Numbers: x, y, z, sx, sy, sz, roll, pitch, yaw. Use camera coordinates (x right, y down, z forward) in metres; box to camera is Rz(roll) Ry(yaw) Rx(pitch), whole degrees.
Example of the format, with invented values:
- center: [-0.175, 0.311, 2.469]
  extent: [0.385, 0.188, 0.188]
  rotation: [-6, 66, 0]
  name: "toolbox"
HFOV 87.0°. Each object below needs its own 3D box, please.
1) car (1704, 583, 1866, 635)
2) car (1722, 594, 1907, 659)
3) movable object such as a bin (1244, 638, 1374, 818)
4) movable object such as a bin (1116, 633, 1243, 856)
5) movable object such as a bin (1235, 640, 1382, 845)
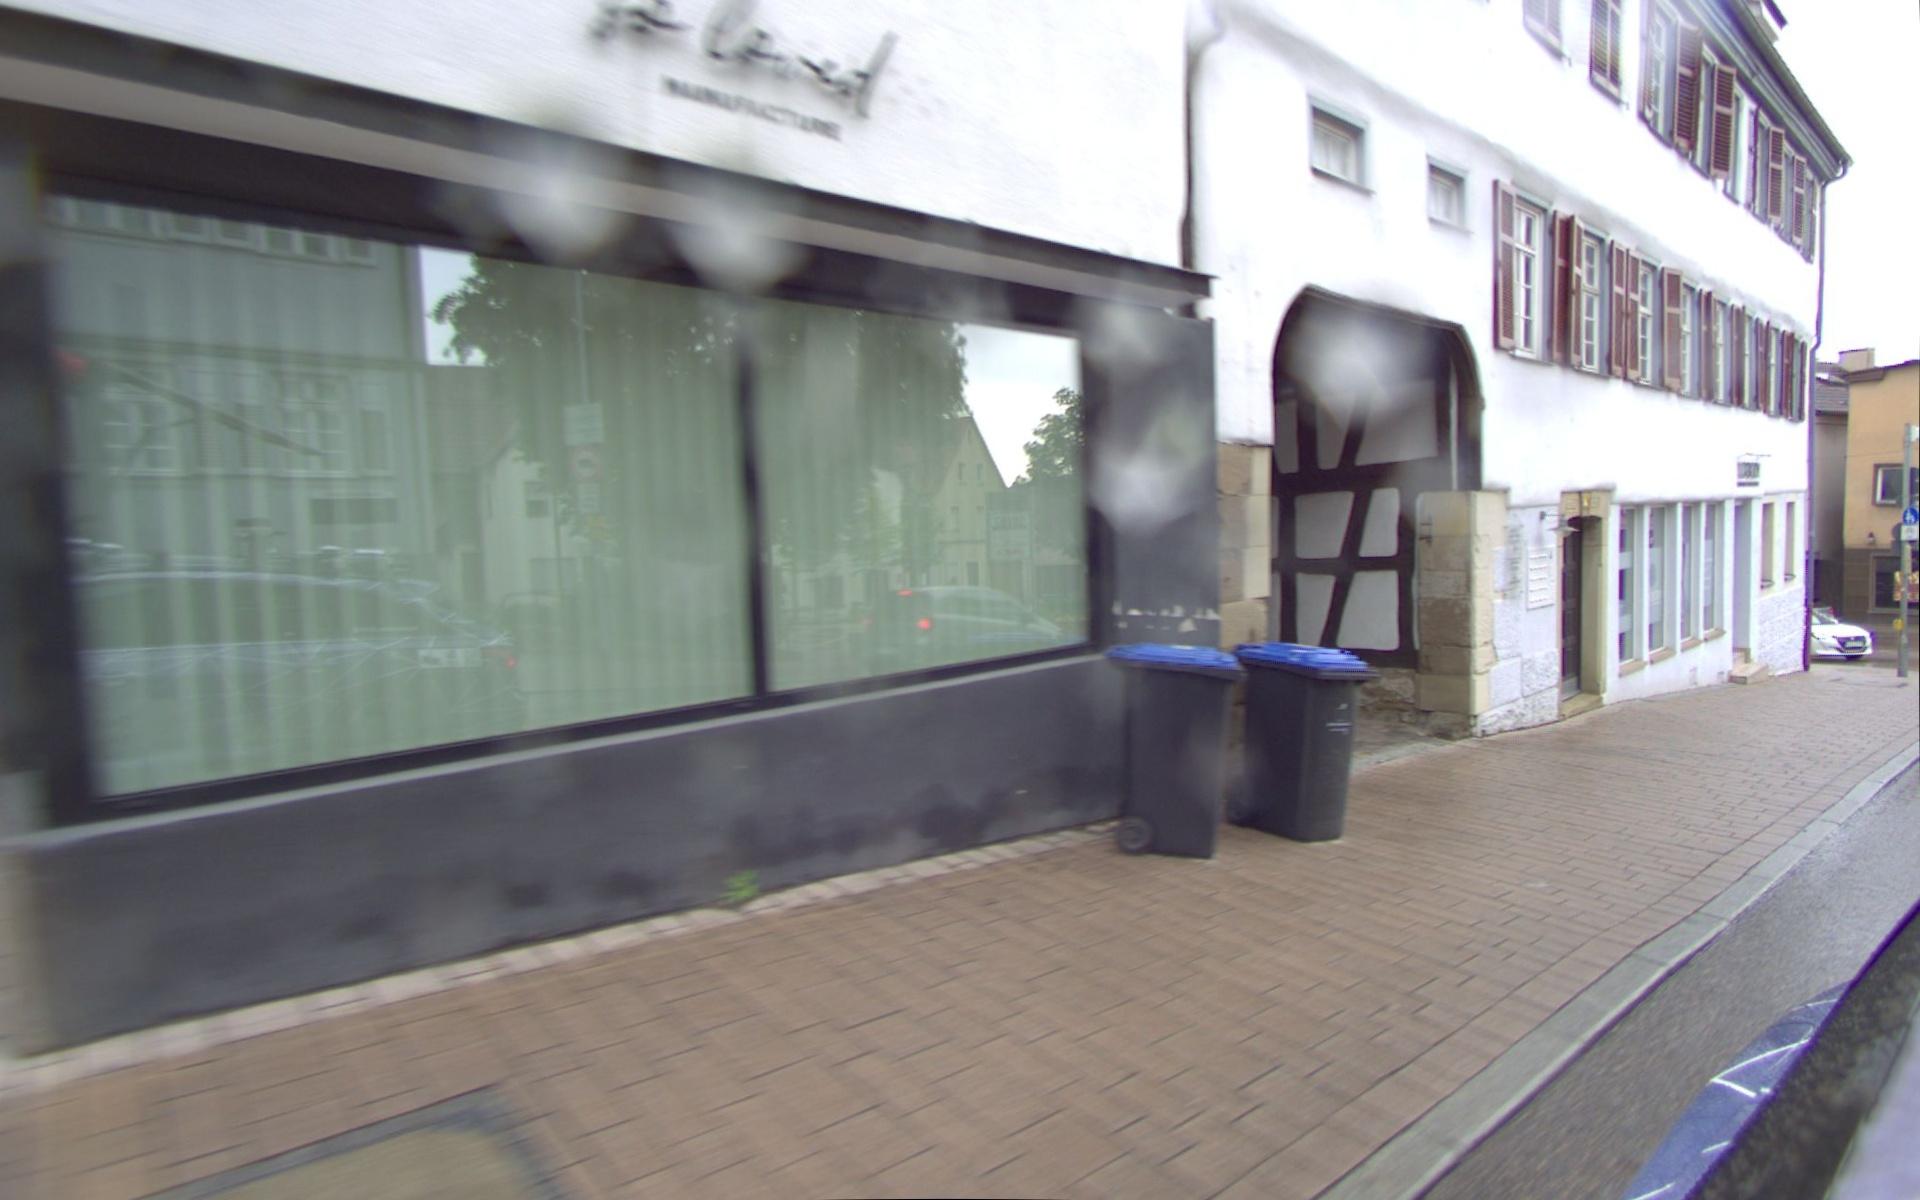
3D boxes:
- center: [30.312, 0.273, 37.369]
  extent: [1.928, 1.627, 4.392]
  rotation: [1, 2, -9]
  name: "car"
- center: [24.467, 0.699, 29.223]
  extent: [1.935, 1.627, 4.376]
  rotation: [1, 1, 6]
  name: "car"
- center: [2.258, 0.797, 6.557]
  extent: [0.468, 1.040, 0.596]
  rotation: [0, 3, -40]
  name: "movable object such as a bin"
- center: [1.127, 0.726, 5.279]
  extent: [0.561, 1.040, 0.468]
  rotation: [3, 2, 8]
  name: "movable object such as a bin"
- center: [1.999, 0.783, 5.822]
  extent: [0.468, 1.040, 0.596]
  rotation: [0, 3, -40]
  name: "movable object such as a bin"
